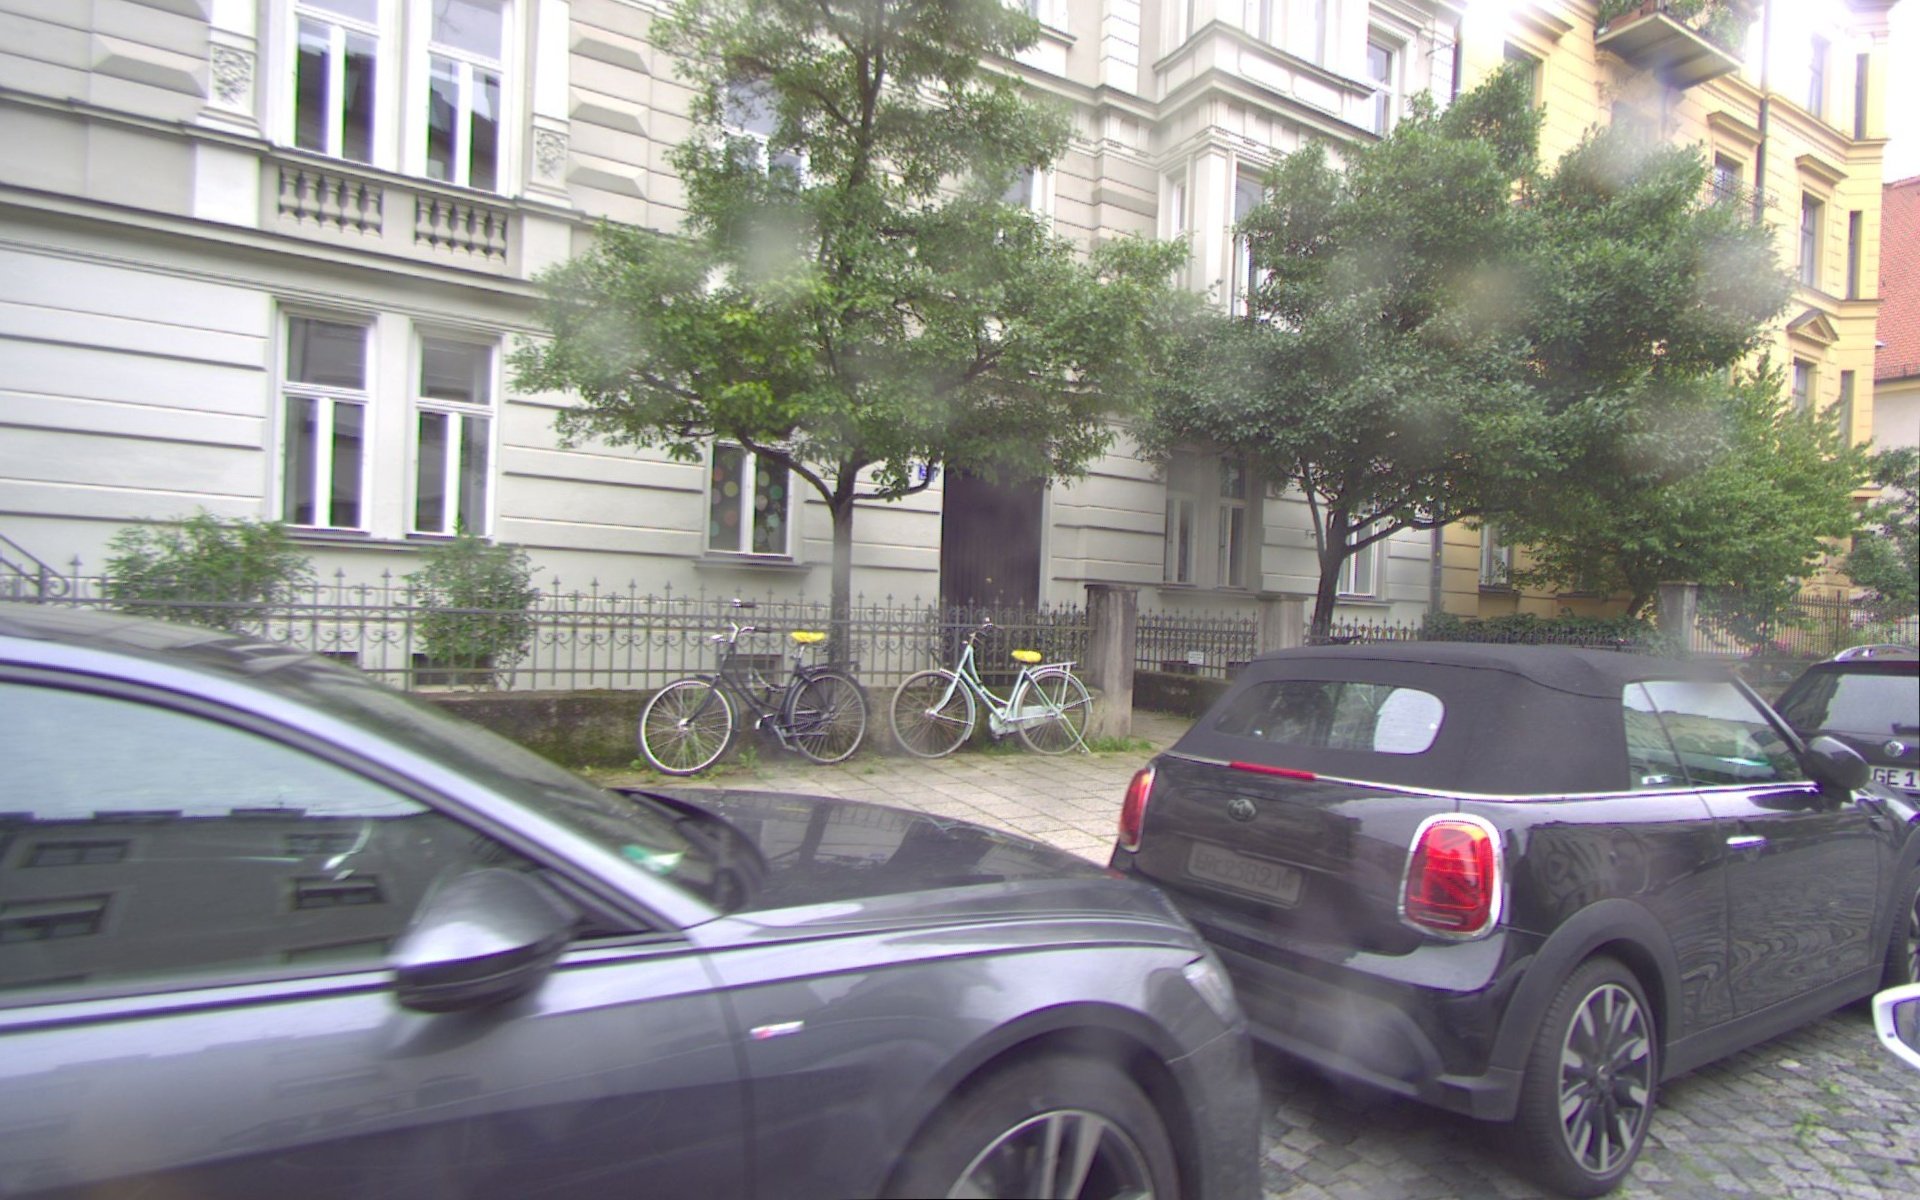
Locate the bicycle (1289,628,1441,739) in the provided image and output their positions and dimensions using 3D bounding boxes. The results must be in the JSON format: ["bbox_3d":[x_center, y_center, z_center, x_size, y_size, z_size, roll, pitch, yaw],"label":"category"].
[{"bbox_3d":[4.375,0.885,10.819,1.809,1.117,0.370,2,1,-26],"label":"bicycle"}]

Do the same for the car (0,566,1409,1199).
[{"bbox_3d":[-1.634,0.748,1.613,5.121,1.524,1.795,2,-3,-32],"label":"car"}]

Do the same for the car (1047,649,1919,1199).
[{"bbox_3d":[2.329,0.981,3.955,3.684,1.536,1.695,2,-2,-31],"label":"car"}]

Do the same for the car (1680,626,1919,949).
[{"bbox_3d":[6.436,1.007,6.108,4.285,1.560,1.719,3,-4,-30],"label":"car"}]

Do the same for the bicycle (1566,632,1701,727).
[{"bbox_3d":[8.719,1.029,13.002,1.736,1.159,0.418,3,1,-17],"label":"bicycle"}]

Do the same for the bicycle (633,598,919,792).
[{"bbox_3d":[-1.299,0.664,7.320,1.956,1.265,0.498,2,1,-30],"label":"bicycle"}]

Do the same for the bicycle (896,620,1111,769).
[{"bbox_3d":[0.400,0.772,8.426,1.865,1.148,0.361,2,1,-30],"label":"bicycle"}]

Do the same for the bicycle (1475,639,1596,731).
[{"bbox_3d":[7.047,1.027,12.275,1.743,1.041,0.416,2,1,-29],"label":"bicycle"}]
